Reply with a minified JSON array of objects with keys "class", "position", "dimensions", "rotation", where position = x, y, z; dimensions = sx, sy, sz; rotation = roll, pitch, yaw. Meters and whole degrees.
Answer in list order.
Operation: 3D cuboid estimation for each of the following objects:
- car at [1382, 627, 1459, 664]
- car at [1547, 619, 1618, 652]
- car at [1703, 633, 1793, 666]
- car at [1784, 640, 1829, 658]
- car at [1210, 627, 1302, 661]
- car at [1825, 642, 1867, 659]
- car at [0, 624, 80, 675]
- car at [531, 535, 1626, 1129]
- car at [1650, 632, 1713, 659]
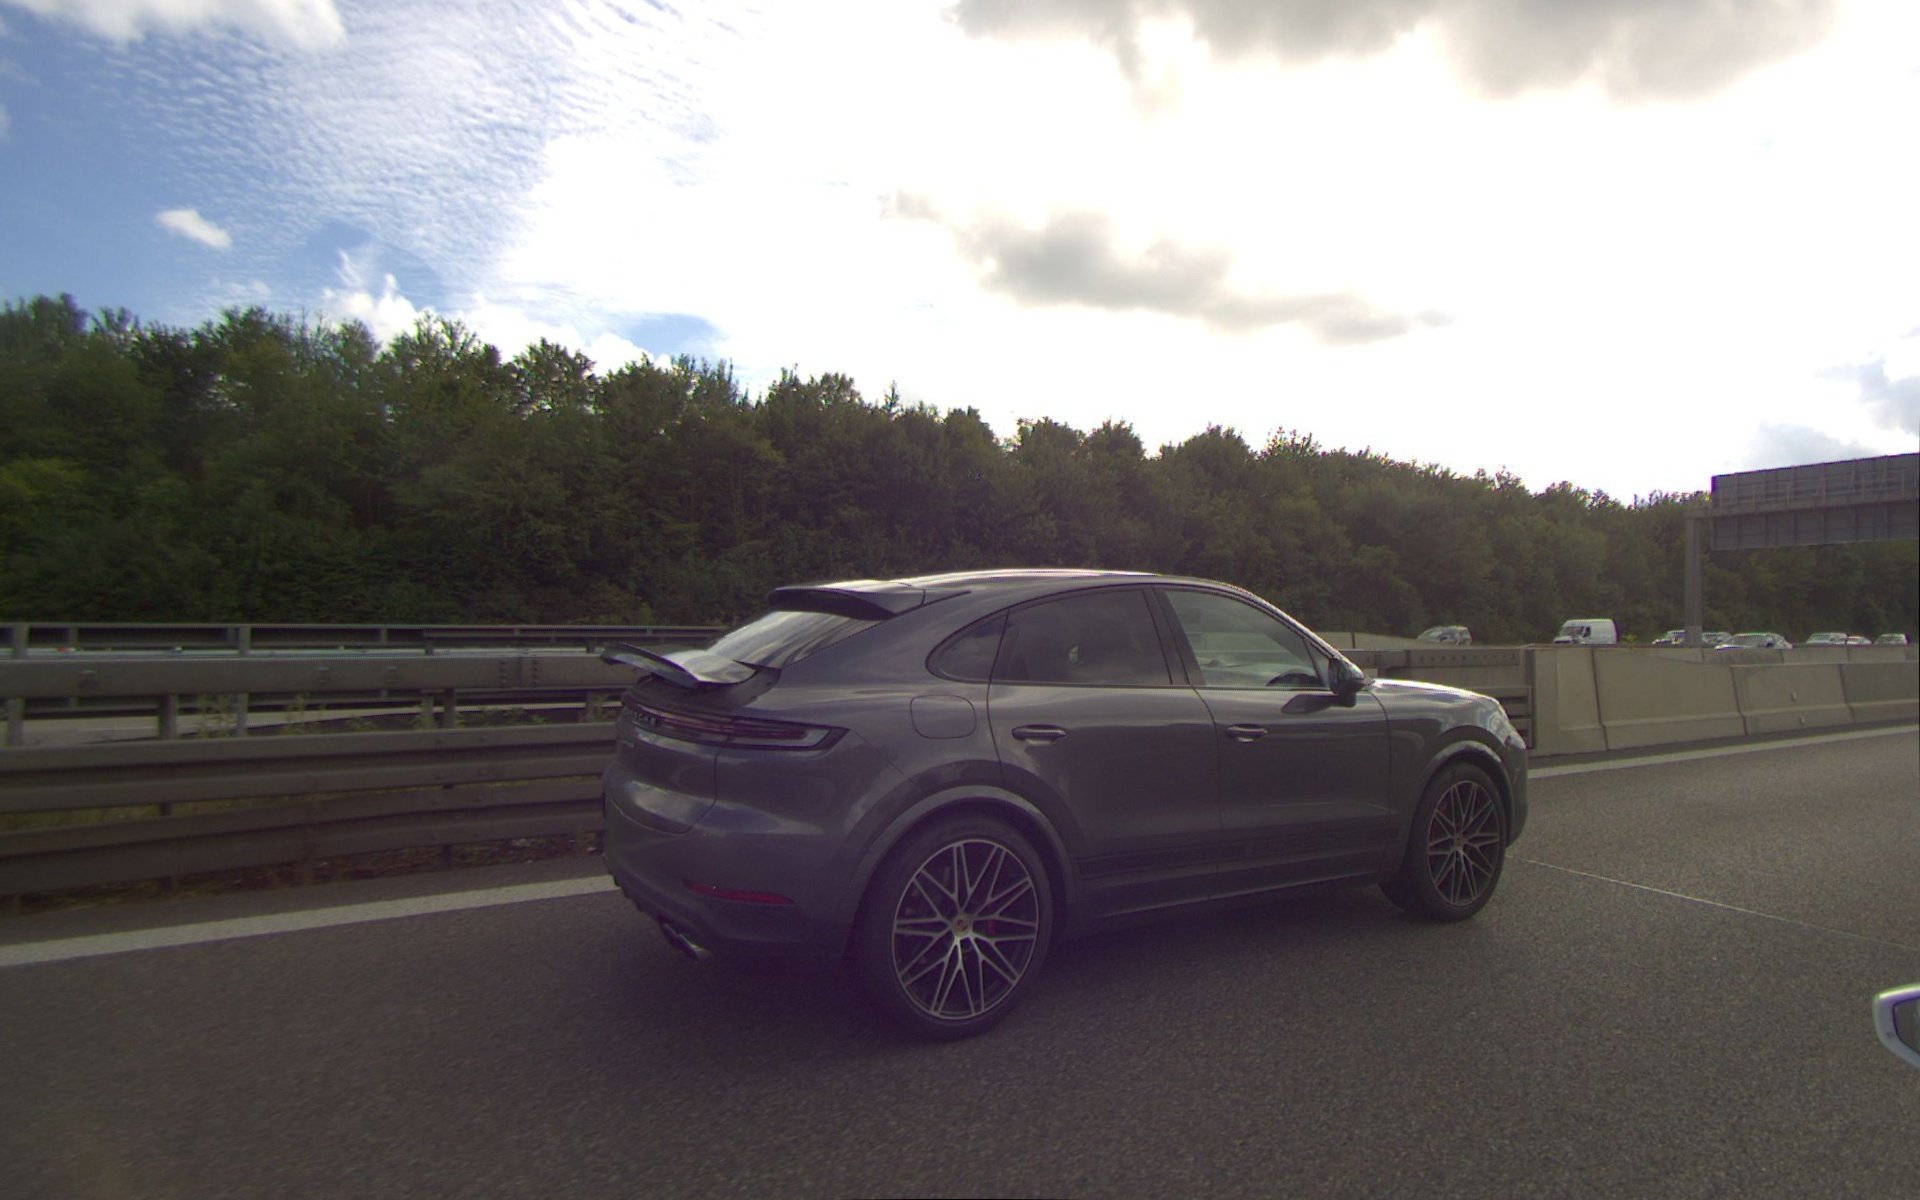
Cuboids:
[{"class":"car","position":[27.134,2.684,59.158],"dimensions":[4.294,2.040,1.983],"rotation":[1,0,-31]},{"class":"car","position":[46.008,2.601,74.207],"dimensions":[5.615,2.346,1.985],"rotation":[1,-2,-29]},{"class":"car","position":[33.782,2.107,43.042],"dimensions":[4.199,1.332,1.634],"rotation":[1,-2,-31]},{"class":"car","position":[79.756,4.571,94.622],"dimensions":[4.891,1.655,1.726],"rotation":[1,-2,-31]},{"class":"car","position":[14.095,2.082,47.717],"dimensions":[4.315,1.537,1.669],"rotation":[1,-2,-29]},{"class":"car","position":[79.009,4.494,89.543],"dimensions":[4.274,1.463,1.649],"rotation":[1,-2,-31]},{"class":"car","position":[-26.633,1.318,27.017],"dimensions":[4.199,1.332,1.634],"rotation":[1,-2,-31]},{"class":"car","position":[0.912,0.707,5.036],"dimensions":[5.437,1.658,1.903],"rotation":[1,-1,-31]},{"class":"car","position":[48.421,3.013,67.409],"dimensions":[4.375,1.752,1.843],"rotation":[1,-2,-31]}]
